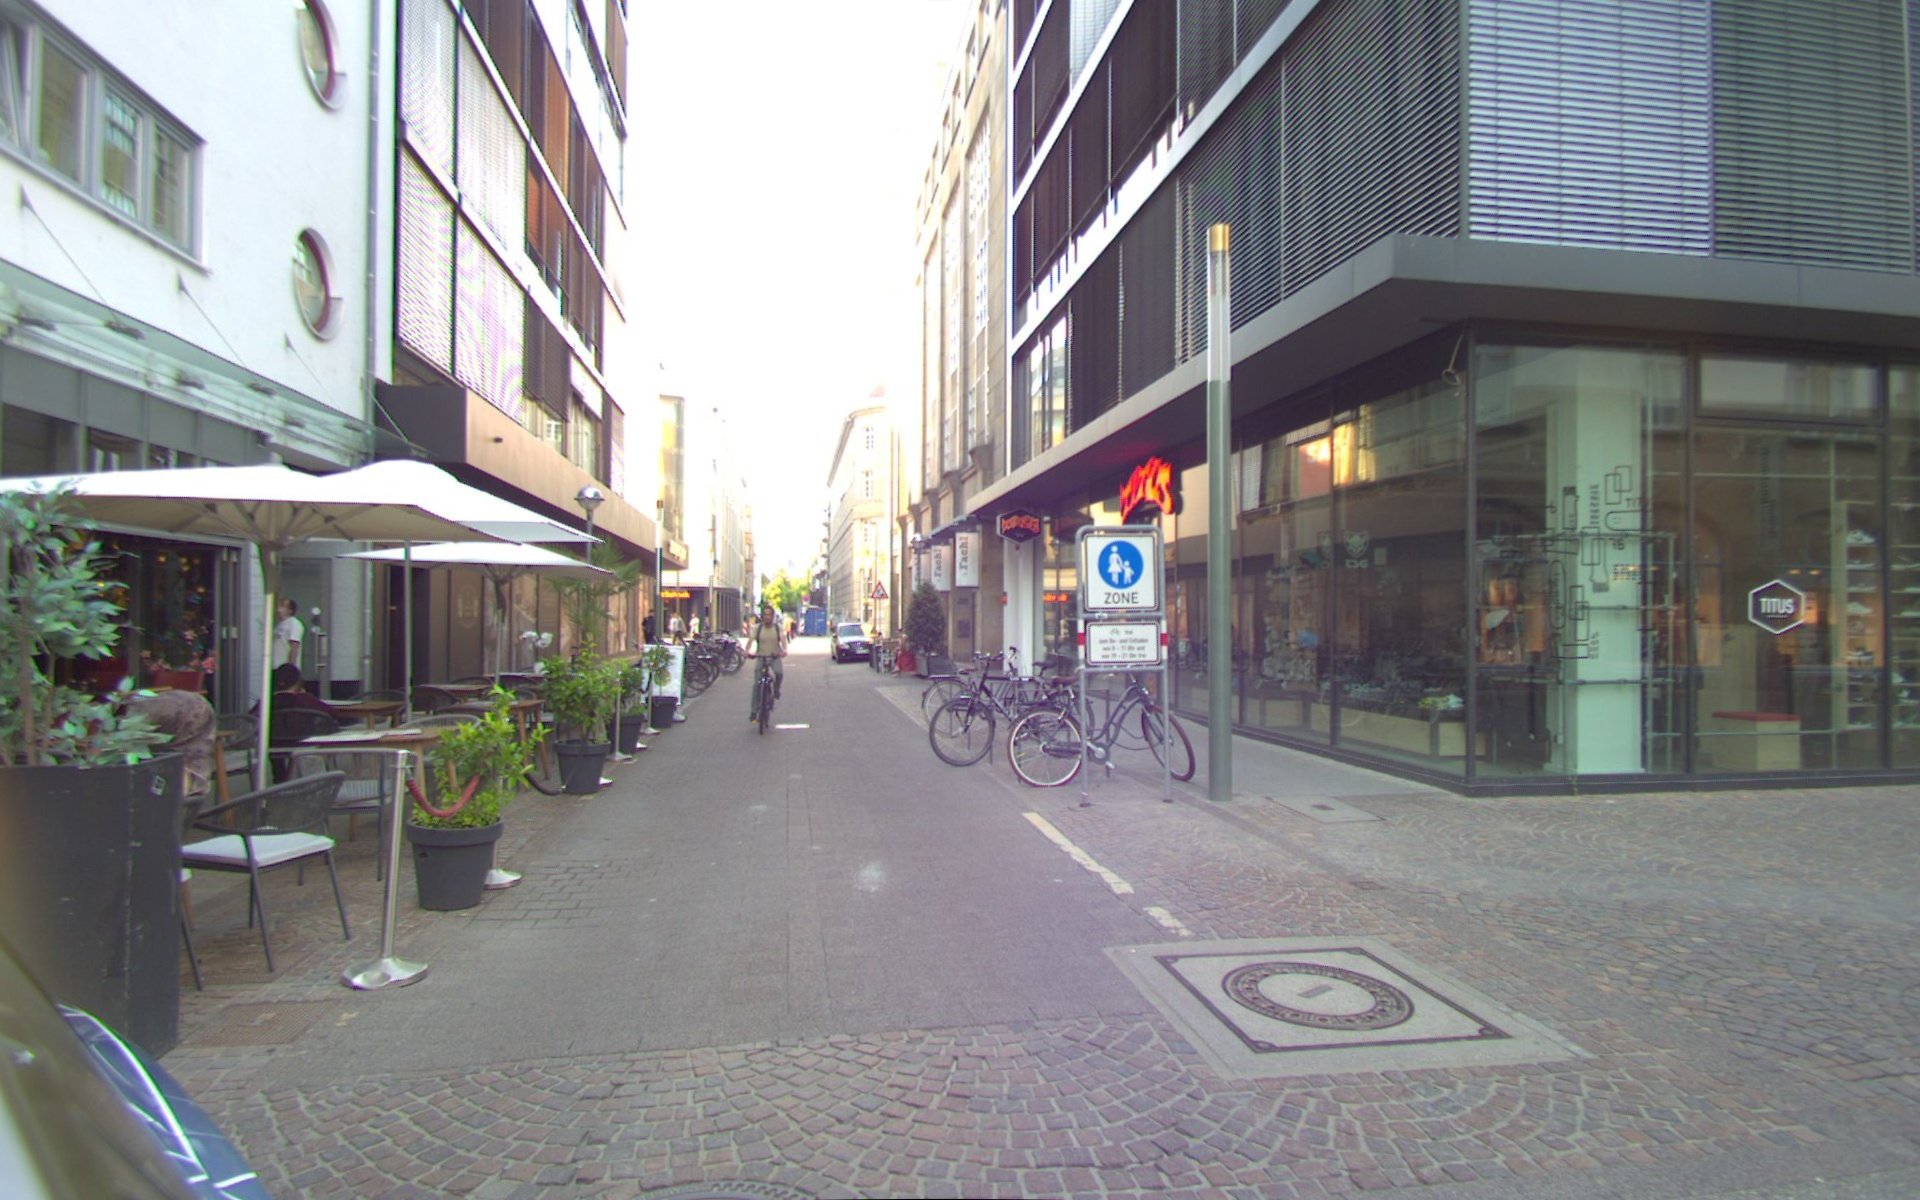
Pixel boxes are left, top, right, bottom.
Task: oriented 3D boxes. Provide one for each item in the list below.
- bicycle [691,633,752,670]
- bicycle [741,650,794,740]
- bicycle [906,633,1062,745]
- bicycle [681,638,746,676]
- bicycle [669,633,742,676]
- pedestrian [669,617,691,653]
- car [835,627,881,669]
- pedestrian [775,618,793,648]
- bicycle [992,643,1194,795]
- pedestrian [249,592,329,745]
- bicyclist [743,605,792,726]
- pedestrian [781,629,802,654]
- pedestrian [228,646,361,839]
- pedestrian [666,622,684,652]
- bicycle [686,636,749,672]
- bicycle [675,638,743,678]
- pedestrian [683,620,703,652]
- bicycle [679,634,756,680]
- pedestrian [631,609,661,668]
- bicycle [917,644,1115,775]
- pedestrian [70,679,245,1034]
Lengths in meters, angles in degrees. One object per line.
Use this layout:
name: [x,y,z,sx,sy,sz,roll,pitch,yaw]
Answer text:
bicycle: [-8.135,1.761,34.608,2.007,1.225,0.620,0,-2,-10]
bicycle: [-2.752,1.318,14.494,0.688,1.137,2.009,0,-2,-11]
bicycle: [0.296,1.133,13.101,1.873,1.279,0.539,-3,-1,-9]
bicycle: [-7.852,1.825,32.314,2.007,1.176,0.620,0,-2,-10]
bicycle: [-7.510,1.617,29.982,2.007,1.176,0.620,3,-2,-10]
pedestrian: [-13.197,1.641,47.701,0.635,1.633,0.772,0,-1,41]
car: [-3.715,1.712,36.928,1.579,1.434,3.608,0,-1,-6]
pedestrian: [-9.704,1.804,55.761,0.667,1.650,0.756,0,-1,33]
bicycle: [1.160,1.017,8.920,1.644,1.213,0.510,-2,-1,-10]
pedestrian: [-8.095,0.806,12.231,0.629,1.785,0.604,0,-2,-14]
bicyclist: [-2.758,0.921,14.514,0.665,1.683,0.871,0,-2,-10]
pedestrian: [-11.152,2.741,66.969,0.917,1.584,0.981,-1,-2,34]
pedestrian: [-5.289,1.092,8.092,0.567,1.431,0.870,0,-2,-9]
pedestrian: [-14.778,1.889,52.433,0.625,1.536,0.784,1,-1,-38]
bicycle: [-8.078,1.798,33.755,2.007,1.176,0.620,0,-2,-10]
bicycle: [-7.734,1.775,31.216,2.007,1.176,0.620,0,-2,-10]
pedestrian: [-14.020,1.870,53.138,0.780,1.633,0.629,0,-1,32]
bicycle: [-6.835,1.604,28.595,2.007,1.176,0.667,3,-2,-10]
pedestrian: [-10.038,1.230,32.364,0.791,1.850,0.676,0,-2,-8]
bicycle: [0.558,1.086,10.286,1.873,1.190,0.518,-2,-3,-10]
pedestrian: [-3.016,0.926,3.831,0.393,1.223,0.384,0,-2,-19]
